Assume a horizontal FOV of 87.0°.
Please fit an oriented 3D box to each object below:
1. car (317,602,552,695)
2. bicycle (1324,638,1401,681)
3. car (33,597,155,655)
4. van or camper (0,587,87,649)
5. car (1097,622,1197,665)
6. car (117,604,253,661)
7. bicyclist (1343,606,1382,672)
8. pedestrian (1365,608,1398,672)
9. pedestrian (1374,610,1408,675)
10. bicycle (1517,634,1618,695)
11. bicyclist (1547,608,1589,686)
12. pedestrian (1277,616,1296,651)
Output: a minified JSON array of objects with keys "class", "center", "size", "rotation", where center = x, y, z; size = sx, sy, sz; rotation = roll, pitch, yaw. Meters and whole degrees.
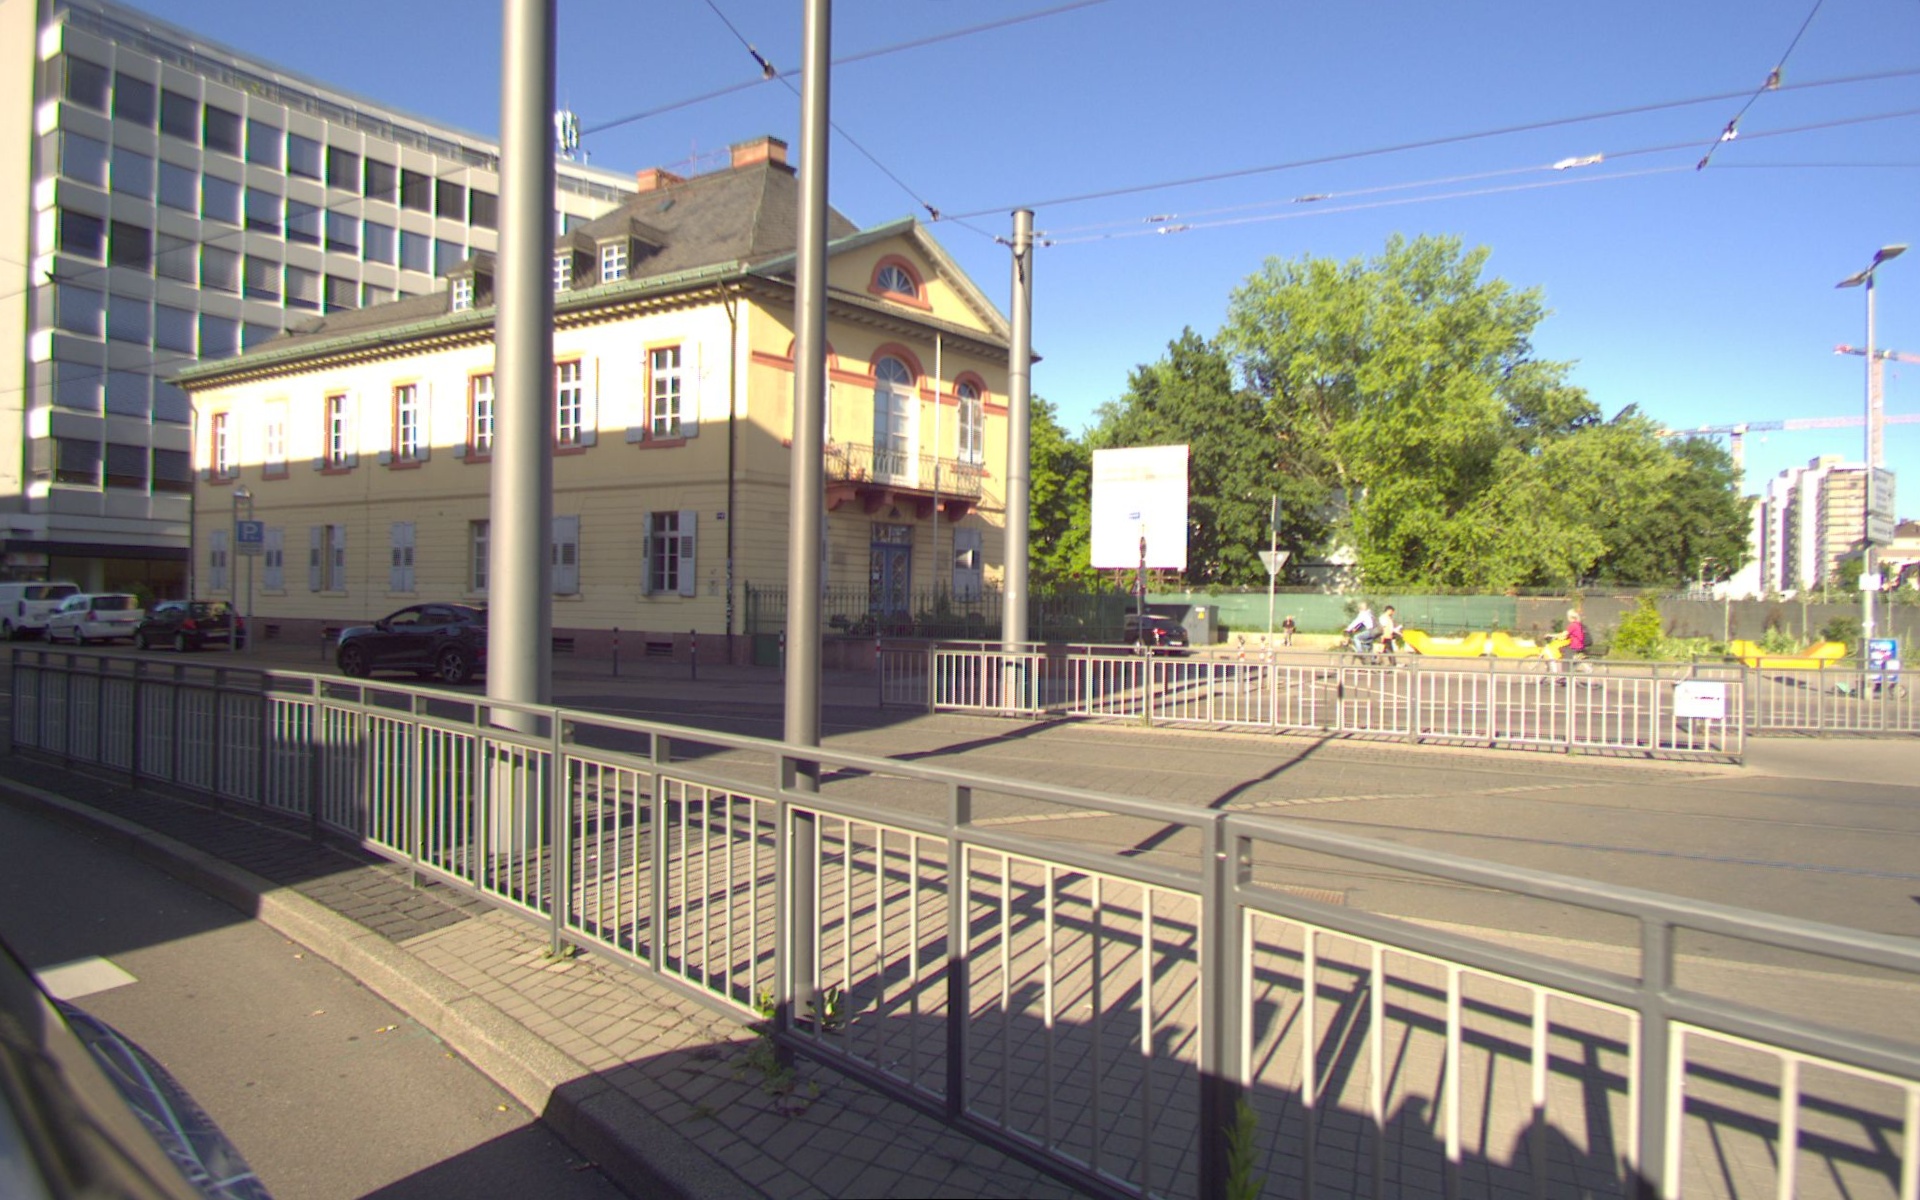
[{"class":"car","center":[-10.087,0.861,19.444],"size":[4.091,1.572,1.679],"rotation":[1,0,20]},{"class":"bicycle","center":[10.525,1.539,26.515],"size":[0.522,1.021,1.890],"rotation":[1,0,-34]},{"class":"car","center":[-27.565,0.776,32.185],"size":[4.161,1.632,1.764],"rotation":[1,1,32]},{"class":"van or camper","center":[-32.504,0.569,35.009],"size":[4.775,1.988,1.942],"rotation":[1,1,28]},{"class":"car","center":[6.646,1.513,36.357],"size":[1.622,1.357,3.772],"rotation":[1,0,-26]},{"class":"car","center":[-22.484,0.901,29.344],"size":[3.945,1.450,1.765],"rotation":[1,1,30]},{"class":"bicyclist","center":[10.540,0.998,26.497],"size":[0.513,1.686,0.772],"rotation":[1,0,-35]},{"class":"pedestrian","center":[12.265,1.146,29.463],"size":[0.704,1.831,0.588],"rotation":[1,0,41]},{"class":"pedestrian","center":[12.740,1.240,29.924],"size":[0.739,1.865,0.697],"rotation":[1,0,41]},{"class":"bicycle","center":[13.474,1.412,22.480],"size":[1.879,1.223,0.525],"rotation":[1,0,33]},{"class":"bicyclist","center":[13.489,1.023,22.465],"size":[0.768,1.686,0.516],"rotation":[1,0,32]},{"class":"pedestrian","center":[14.180,1.437,43.905],"size":[0.682,1.462,0.741],"rotation":[1,0,25]}]
